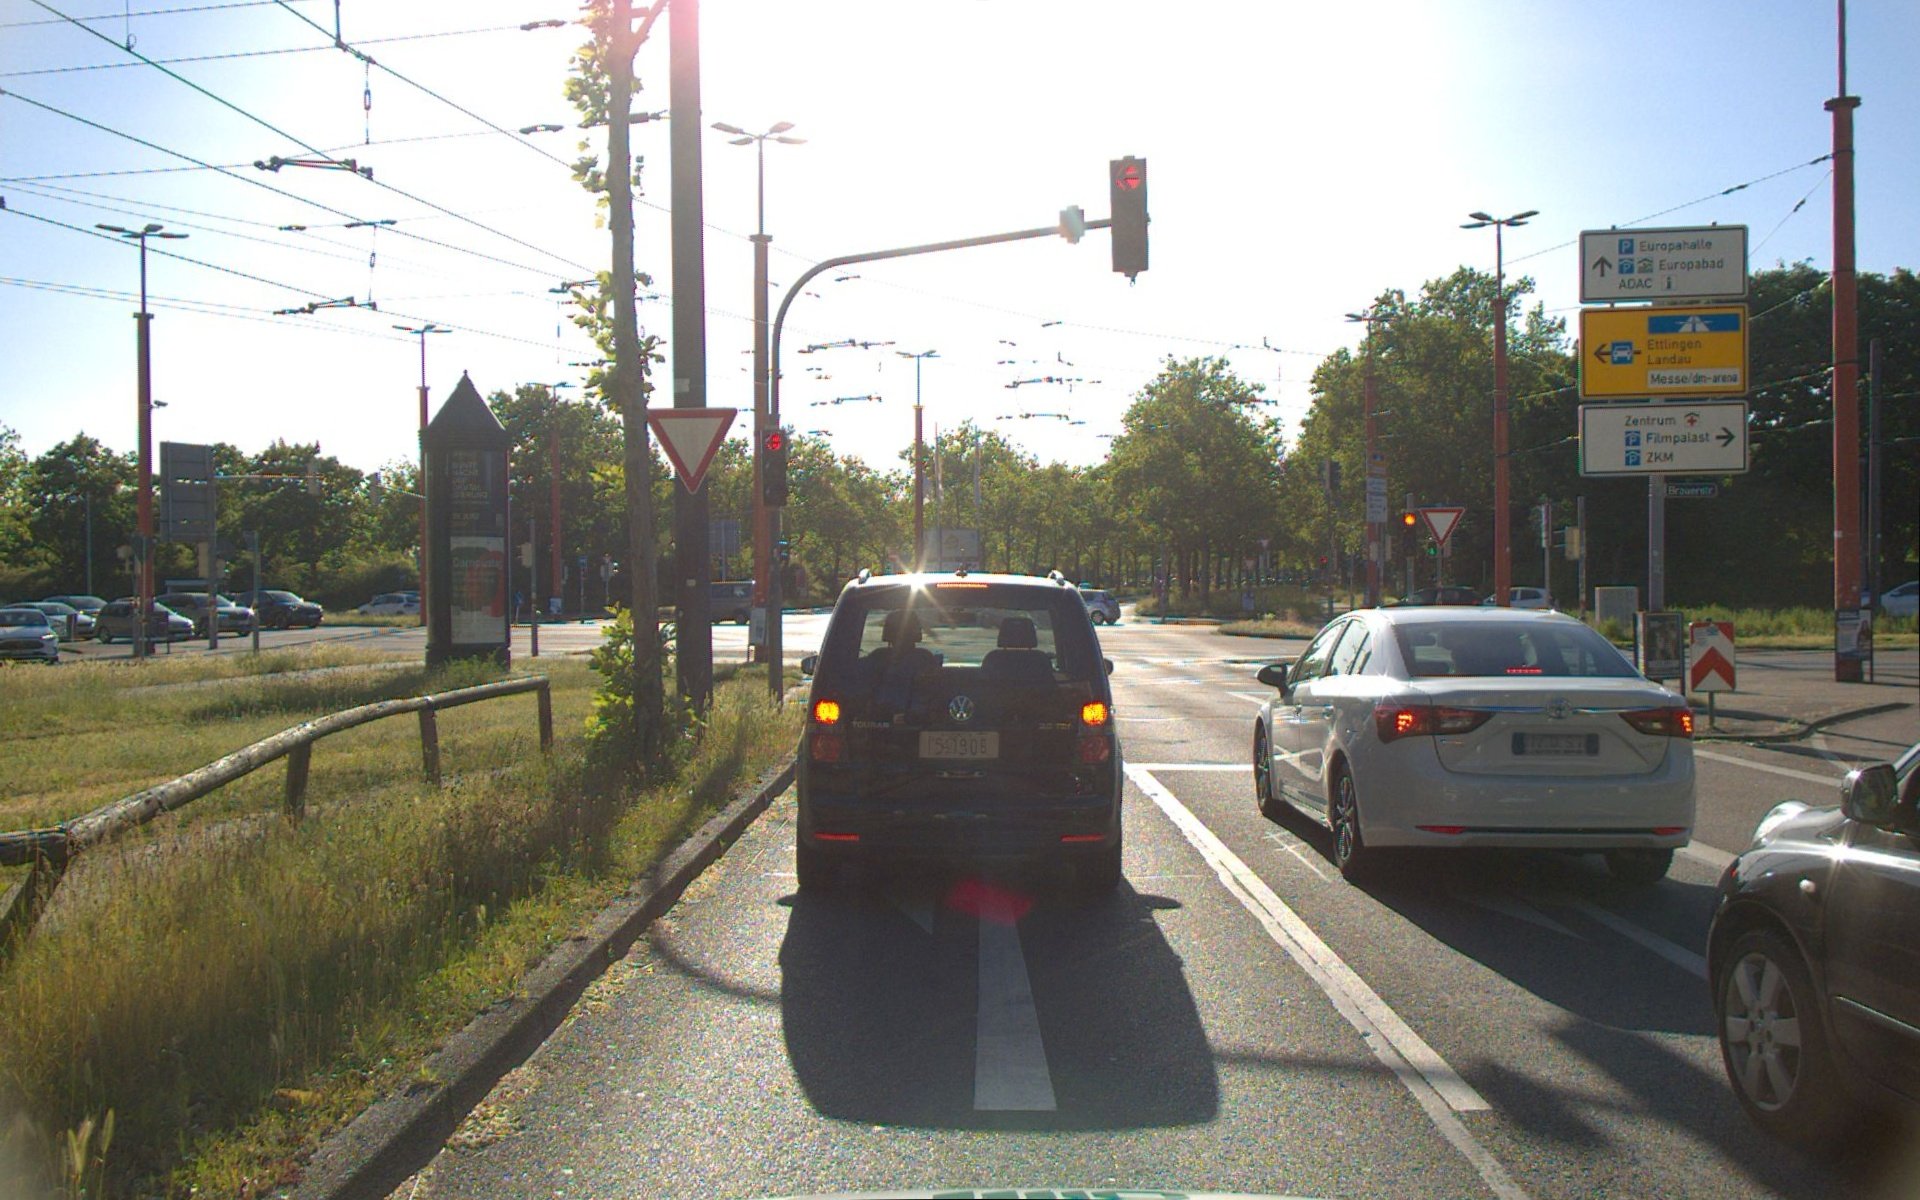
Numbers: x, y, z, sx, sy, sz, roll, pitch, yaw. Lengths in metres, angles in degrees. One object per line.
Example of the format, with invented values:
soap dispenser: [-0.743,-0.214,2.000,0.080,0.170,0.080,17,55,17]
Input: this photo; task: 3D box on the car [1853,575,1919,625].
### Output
car: [33.188,-0.010,57.043,4.147,1.711,1.701,0,0,27]

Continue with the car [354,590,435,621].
car: [-28.594,0.258,83.618,3.743,1.549,1.694,0,0,25]

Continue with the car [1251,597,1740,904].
car: [2.975,0.730,10.147,1.685,1.463,4.198,1,0,1]

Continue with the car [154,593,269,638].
car: [-29.003,0.575,64.063,3.907,1.673,1.999,0,0,24]

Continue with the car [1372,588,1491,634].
car: [17.153,0.369,60.118,3.942,1.624,2.000,0,0,23]

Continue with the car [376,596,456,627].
car: [-29.665,0.611,90.220,4.039,1.672,1.851,0,0,26]

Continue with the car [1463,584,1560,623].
car: [21.113,0.128,63.333,3.368,1.392,1.289,1,0,26]

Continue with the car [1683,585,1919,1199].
car: [3.183,0.741,3.595,1.620,1.526,3.614,1,0,0]

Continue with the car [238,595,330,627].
car: [-29.273,0.475,71.594,3.913,1.353,1.694,0,0,31]

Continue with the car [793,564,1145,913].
car: [0.009,0.647,9.805,1.666,1.650,3.896,0,0,-1]

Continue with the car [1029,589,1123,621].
car: [5.033,0.199,71.752,3.751,1.286,1.602,1,0,23]

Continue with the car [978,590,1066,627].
car: [2.548,0.336,67.973,3.324,1.483,1.465,0,0,20]

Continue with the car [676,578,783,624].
car: [-10.499,0.042,75.356,4.478,2.049,1.999,0,0,24]

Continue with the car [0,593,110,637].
car: [-34.715,0.564,63.223,4.091,1.640,1.867,0,0,25]

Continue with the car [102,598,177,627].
car: [-35.647,0.544,71.844,3.102,1.219,1.526,0,0,31]

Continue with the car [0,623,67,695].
car: [-25.651,1.560,45.185,1.974,1.761,4.793,0,0,-32]
